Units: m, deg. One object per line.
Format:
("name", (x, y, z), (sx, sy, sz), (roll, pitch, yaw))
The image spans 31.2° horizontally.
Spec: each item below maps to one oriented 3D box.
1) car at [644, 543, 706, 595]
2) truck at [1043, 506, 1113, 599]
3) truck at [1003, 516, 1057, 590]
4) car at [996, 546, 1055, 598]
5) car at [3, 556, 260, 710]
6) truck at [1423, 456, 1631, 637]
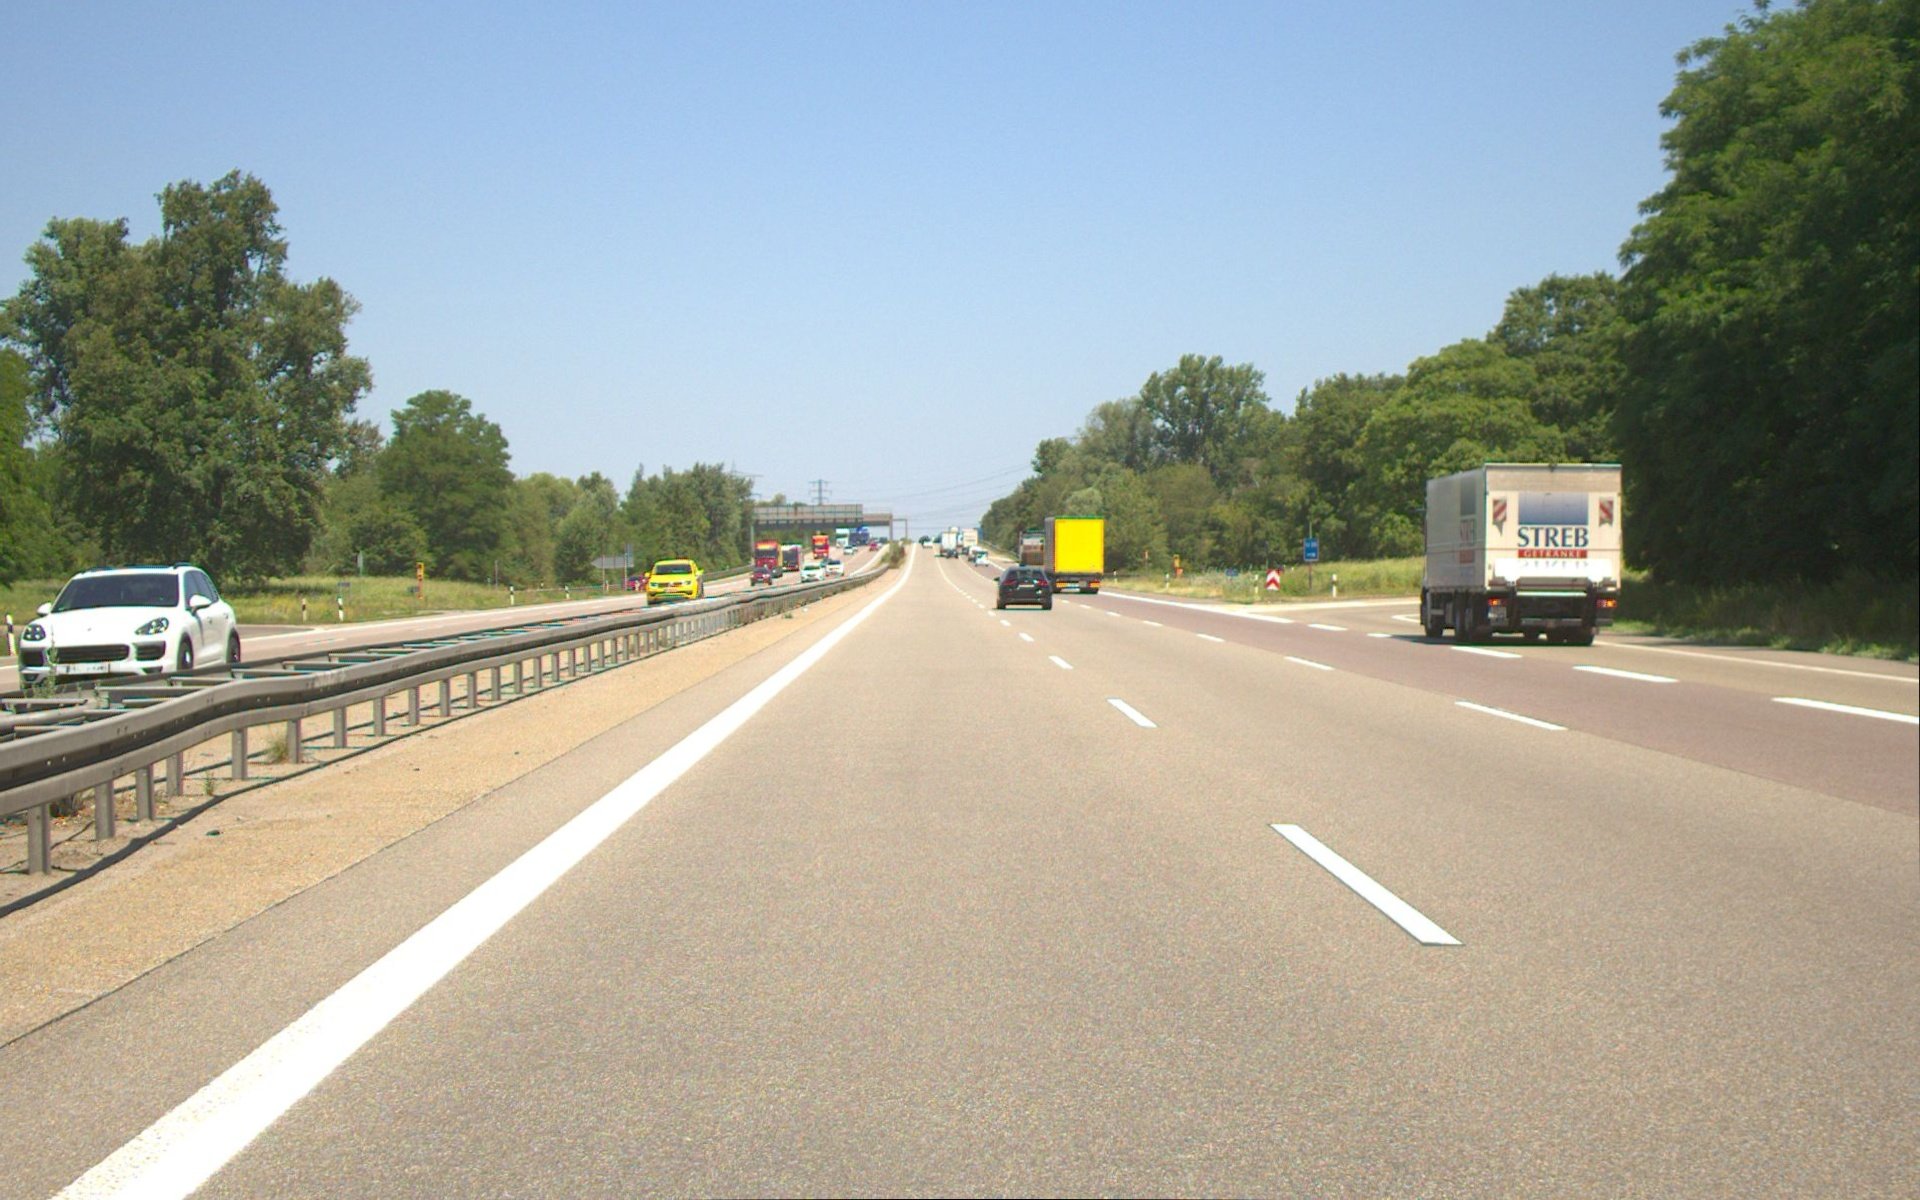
("car", (-11.048, -1.213, 133.641), (1.993, 1.957, 5.211), (1, 1, -1))
("truck", (6.372, -2.594, 188.541), (3.377, 4.864, 15.086), (1, 1, 0))
("truck", (4.704, -3.165, 234.080), (3.367, 4.864, 15.086), (1, 1, 0))
("car", (2.183, -0.942, 115.762), (1.827, 1.700, 4.000), (1, 1, -1))
("car", (-10.287, 0.355, 43.093), (1.993, 1.700, 5.265), (1, 2, -1))
("truck", (11.194, -1.051, 68.872), (3.028, 3.308, 10.769), (1, 1, 4))
